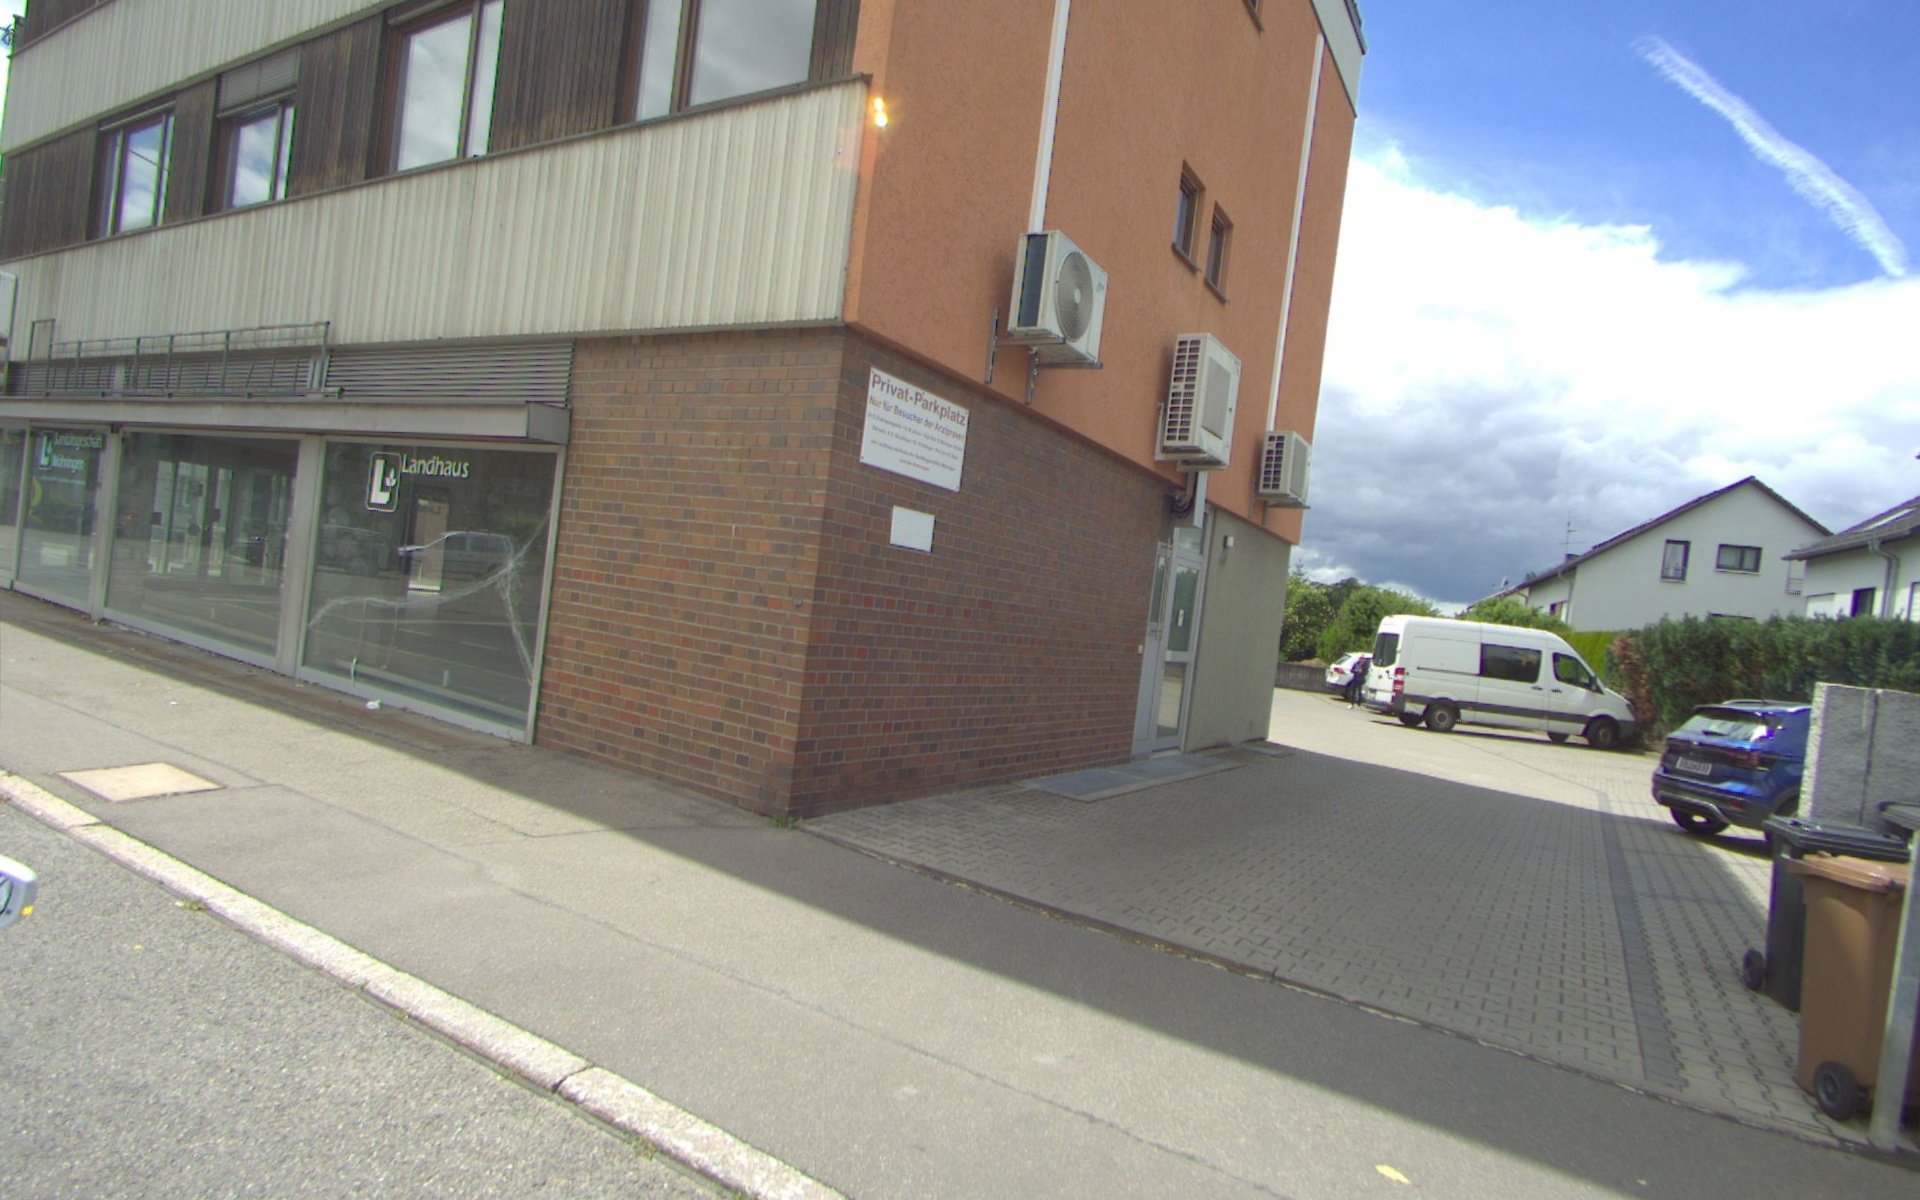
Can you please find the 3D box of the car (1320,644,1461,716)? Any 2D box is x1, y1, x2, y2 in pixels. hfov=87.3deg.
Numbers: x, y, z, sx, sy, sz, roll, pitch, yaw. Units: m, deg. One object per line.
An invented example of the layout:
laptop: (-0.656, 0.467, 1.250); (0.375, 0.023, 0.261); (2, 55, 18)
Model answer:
car: (14.276, 2.663, 33.581); (3.924, 1.792, 1.827); (7, -2, 16)

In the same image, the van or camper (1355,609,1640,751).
van or camper: (12.676, 1.836, 24.033); (5.409, 2.574, 2.059); (7, 0, 3)

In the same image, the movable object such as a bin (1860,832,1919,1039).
movable object such as a bin: (4.854, 1.654, 4.794); (0.530, 0.903, 0.635); (7, 0, 14)

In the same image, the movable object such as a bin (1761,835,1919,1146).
movable object such as a bin: (3.586, 1.468, 3.772); (0.674, 0.962, 0.534); (7, 0, 17)

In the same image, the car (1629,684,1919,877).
car: (9.675, 1.968, 10.699); (3.725, 1.554, 1.788); (7, 0, 5)

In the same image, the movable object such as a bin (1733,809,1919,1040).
movable object such as a bin: (4.351, 1.586, 5.027); (0.530, 0.923, 0.494); (7, 0, 14)

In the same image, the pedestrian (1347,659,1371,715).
pedestrian: (11.968, 2.612, 30.201); (0.434, 1.639, 0.529); (7, -1, 17)
